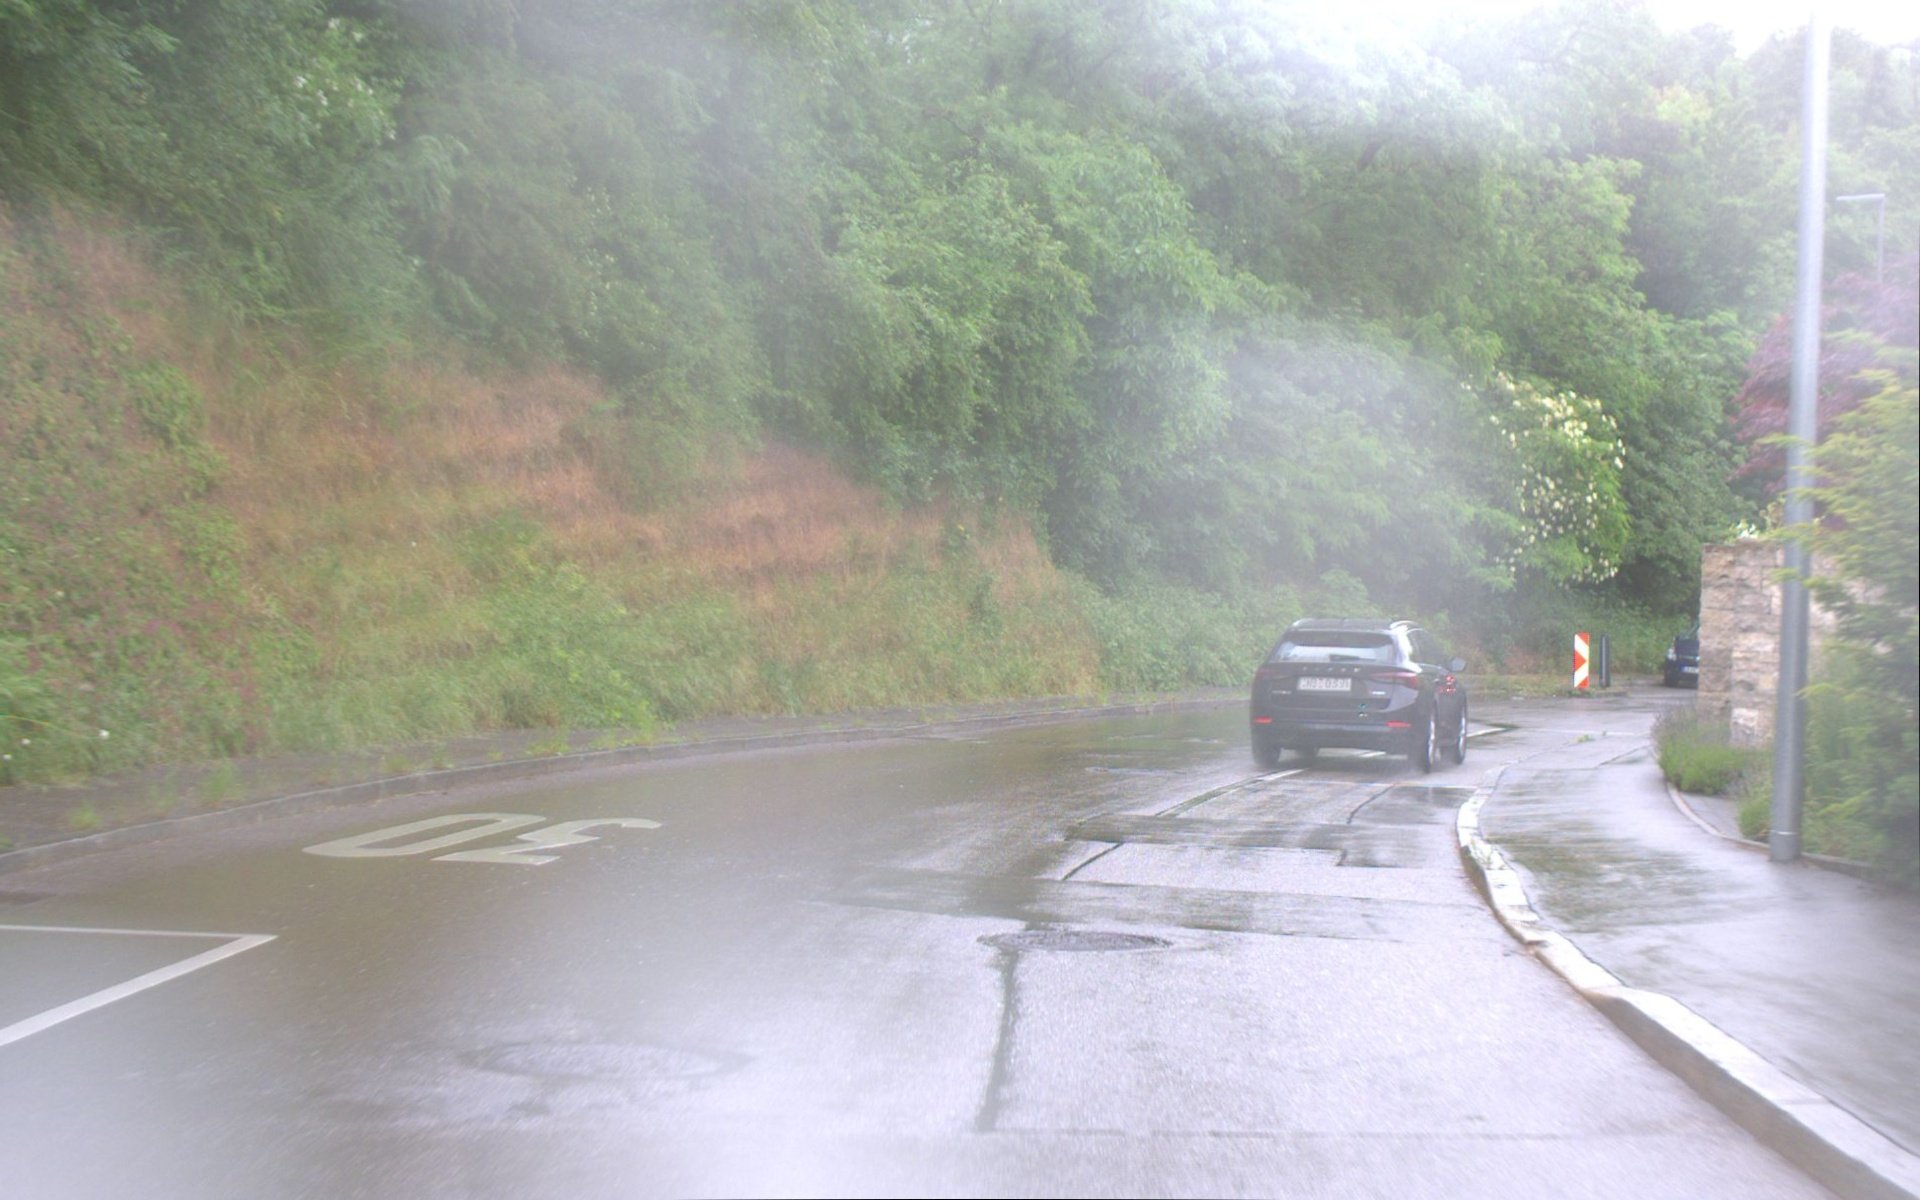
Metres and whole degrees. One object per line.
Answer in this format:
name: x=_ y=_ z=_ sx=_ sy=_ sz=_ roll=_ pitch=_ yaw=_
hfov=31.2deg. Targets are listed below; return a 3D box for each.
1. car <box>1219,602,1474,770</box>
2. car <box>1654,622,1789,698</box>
car: x=3.930 y=0.820 z=34.374 sx=1.870 sy=1.507 sz=4.089 roll=2 pitch=0 yaw=15
car: x=16.364 y=1.273 z=73.765 sx=1.702 sy=1.466 sz=3.993 roll=4 pitch=1 yaw=29
